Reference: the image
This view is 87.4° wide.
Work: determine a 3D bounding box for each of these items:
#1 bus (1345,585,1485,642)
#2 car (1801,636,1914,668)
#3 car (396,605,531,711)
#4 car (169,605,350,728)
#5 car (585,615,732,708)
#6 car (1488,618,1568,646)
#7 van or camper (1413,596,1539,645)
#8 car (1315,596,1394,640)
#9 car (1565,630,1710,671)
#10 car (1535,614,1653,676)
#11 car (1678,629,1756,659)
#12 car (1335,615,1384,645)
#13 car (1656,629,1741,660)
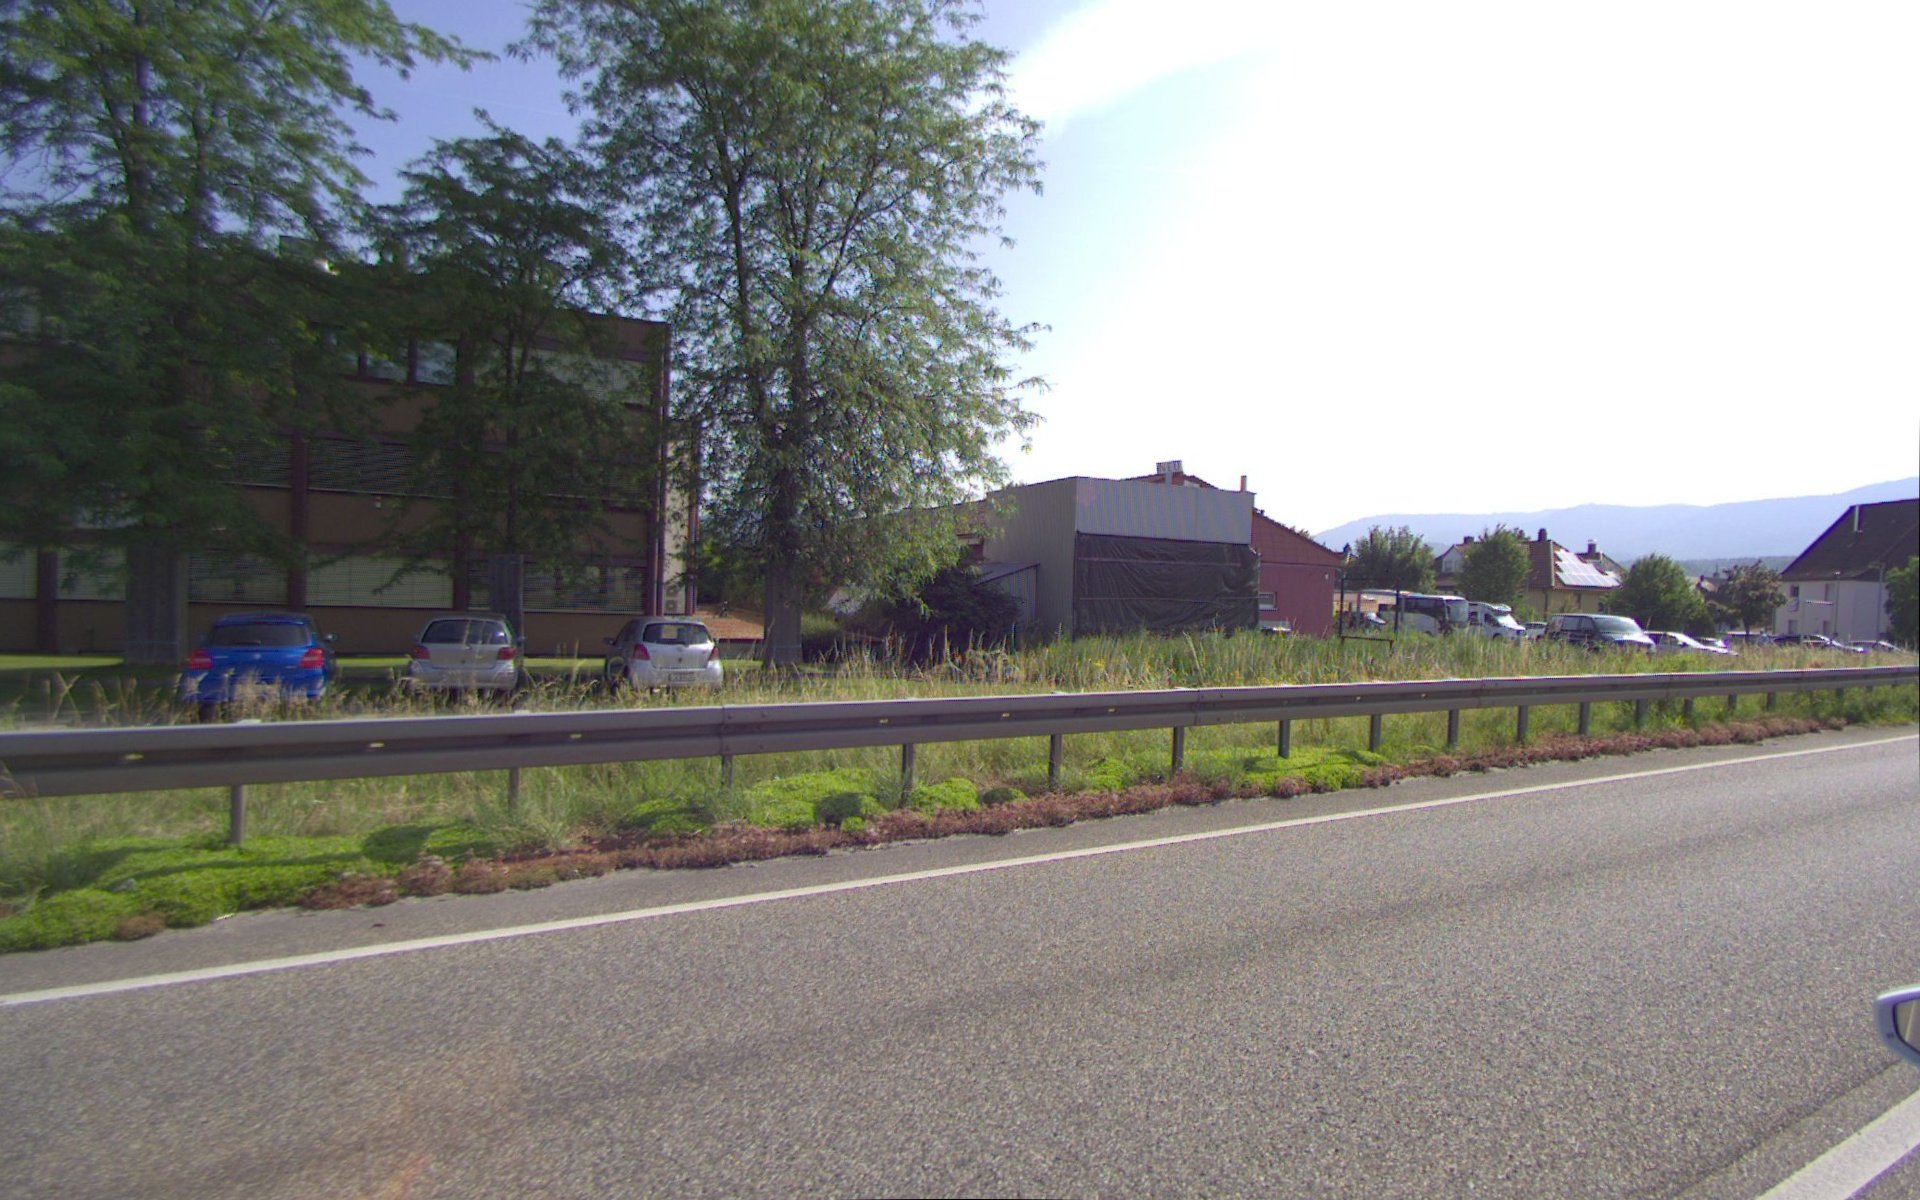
[{"bbox_3d":[30.701,0.806,68.296,2.629,3.400,9.068,0,2,-26],"label":"bus"},{"bbox_3d":[49.285,2.834,55.227,1.854,1.524,4.275,1,0,-32],"label":"car"},{"bbox_3d":[-8.538,0.932,17.542,1.831,1.520,3.738,2,1,-23],"label":"car"},{"bbox_3d":[-10.610,0.920,15.482,1.909,1.520,3.729,2,1,-30],"label":"car"},{"bbox_3d":[-5.769,1.086,18.948,1.840,1.479,3.729,2,0,-30],"label":"car"},{"bbox_3d":[39.086,2.172,69.227,1.837,1.655,4.542,1,1,-26],"label":"car"},{"bbox_3d":[34.803,1.331,68.101,2.711,2.880,7.369,2,1,-26],"label":"van or camper"},{"bbox_3d":[26.752,1.200,68.260,1.837,2.696,5.004,1,2,-26],"label":"car"},{"bbox_3d":[27.435,2.000,40.807,1.727,1.400,4.582,1,0,-37],"label":"car"},{"bbox_3d":[23.648,1.615,37.703,1.959,2.040,4.908,1,0,9],"label":"car"},{"bbox_3d":[56.049,3.222,74.433,1.835,1.655,4.148,4,3,-22],"label":"car"},{"bbox_3d":[16.588,1.247,41.682,1.993,1.161,0.810,3,0,-31],"label":"car"},{"bbox_3d":[52.899,3.138,72.065,1.834,1.655,4.552,4,3,-19],"label":"car"}]
